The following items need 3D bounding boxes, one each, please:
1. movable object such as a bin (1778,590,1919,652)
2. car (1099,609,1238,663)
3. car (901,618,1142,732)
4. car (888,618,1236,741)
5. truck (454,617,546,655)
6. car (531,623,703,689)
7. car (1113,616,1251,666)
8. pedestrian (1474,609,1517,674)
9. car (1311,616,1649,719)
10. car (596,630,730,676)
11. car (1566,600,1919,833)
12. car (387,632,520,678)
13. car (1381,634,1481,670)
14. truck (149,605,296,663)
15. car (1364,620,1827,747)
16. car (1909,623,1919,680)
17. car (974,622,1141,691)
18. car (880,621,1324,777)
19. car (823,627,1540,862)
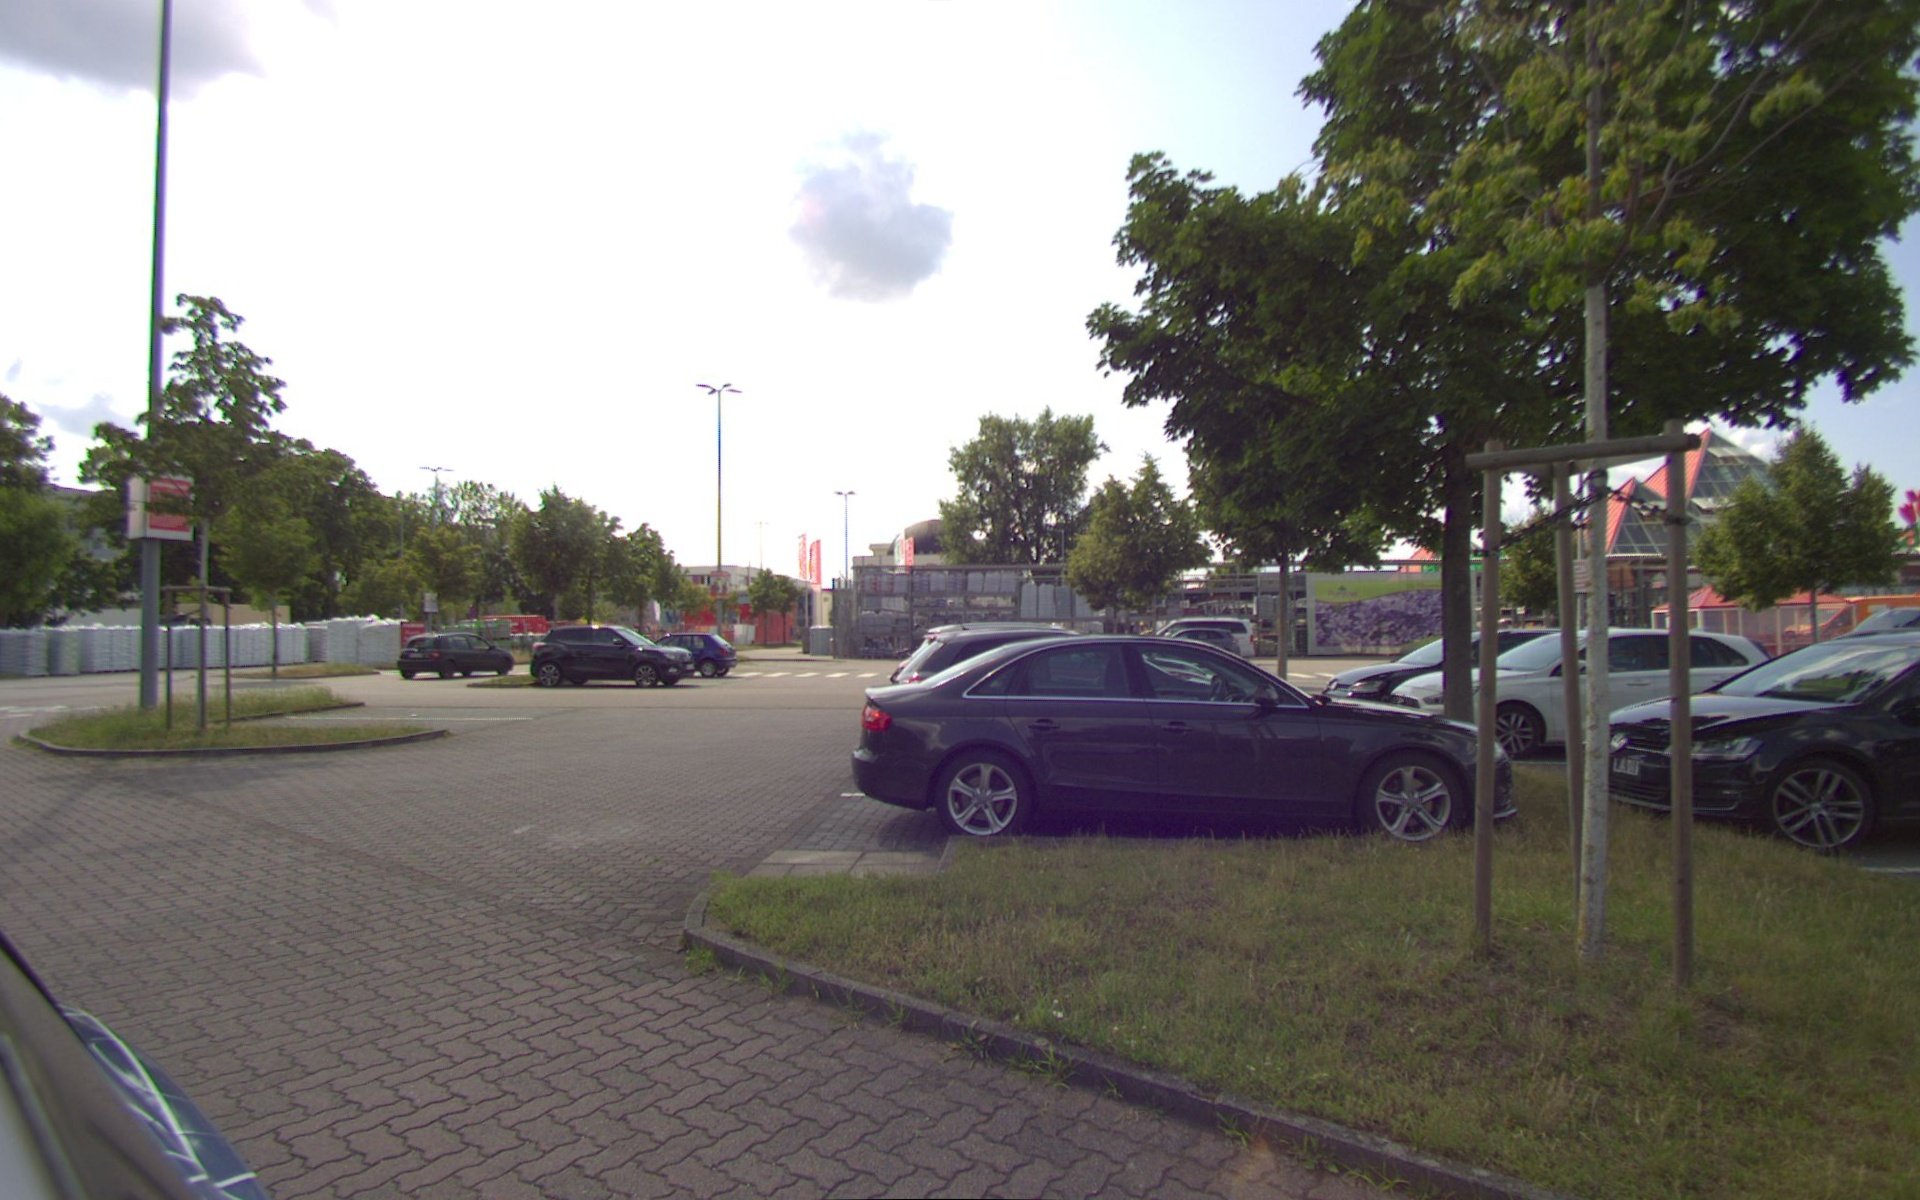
[{"bbox_3d":[38.251,0.900,42.950,5.260,2.513,2.131,0,-2,-1],"label":"movable object such as a bin"},{"bbox_3d":[8.138,1.418,39.925,5.120,2.029,1.997,-1,-2,4],"label":"car"},{"bbox_3d":[0.882,1.090,15.209,3.400,1.593,1.709,-1,-2,2],"label":"car"},{"bbox_3d":[1.195,0.955,12.706,4.033,1.409,1.765,-1,-2,2],"label":"car"},{"bbox_3d":[-31.516,2.465,69.435,5.370,2.534,2.115,0,-2,1],"label":"truck"},{"bbox_3d":[-8.922,1.443,26.492,3.914,1.637,1.733,-1,-2,6],"label":"car"},{"bbox_3d":[9.236,1.706,42.546,5.518,1.957,1.995,0,1,8],"label":"car"},{"bbox_3d":[17.015,1.308,32.187,0.903,2.029,0.817,0,-2,2],"label":"pedestrian"},{"bbox_3d":[7.256,0.920,14.452,3.840,1.293,1.823,0,1,3],"label":"car"},{"bbox_3d":[-9.239,1.652,31.623,3.714,1.378,1.619,-1,-3,4],"label":"car"},{"bbox_3d":[6.767,0.708,7.010,4.010,1.362,1.793,0,1,2],"label":"car"},{"bbox_3d":[-15.744,1.675,31.655,1.597,1.331,3.767,-1,-2,16],"label":"car"},{"bbox_3d":[17.286,1.906,37.256,3.250,1.229,1.534,0,-3,25],"label":"car"},{"bbox_3d":[-49.552,2.312,68.422,2.696,3.626,9.021,0,-2,5],"label":"truck"},{"bbox_3d":[7.313,0.943,12.018,4.222,1.363,1.893,0,-2,1],"label":"car"},{"bbox_3d":[25.086,1.217,23.880,3.517,1.397,1.740,-1,-2,6],"label":"car"},{"bbox_3d":[2.379,1.398,25.533,4.028,1.637,1.783,-1,-2,1],"label":"car"},{"bbox_3d":[1.280,0.923,9.889,3.947,1.380,1.578,-1,-2,3],"label":"car"},{"bbox_3d":[1.403,0.943,7.361,4.486,1.443,1.768,-1,-2,6],"label":"car"}]
